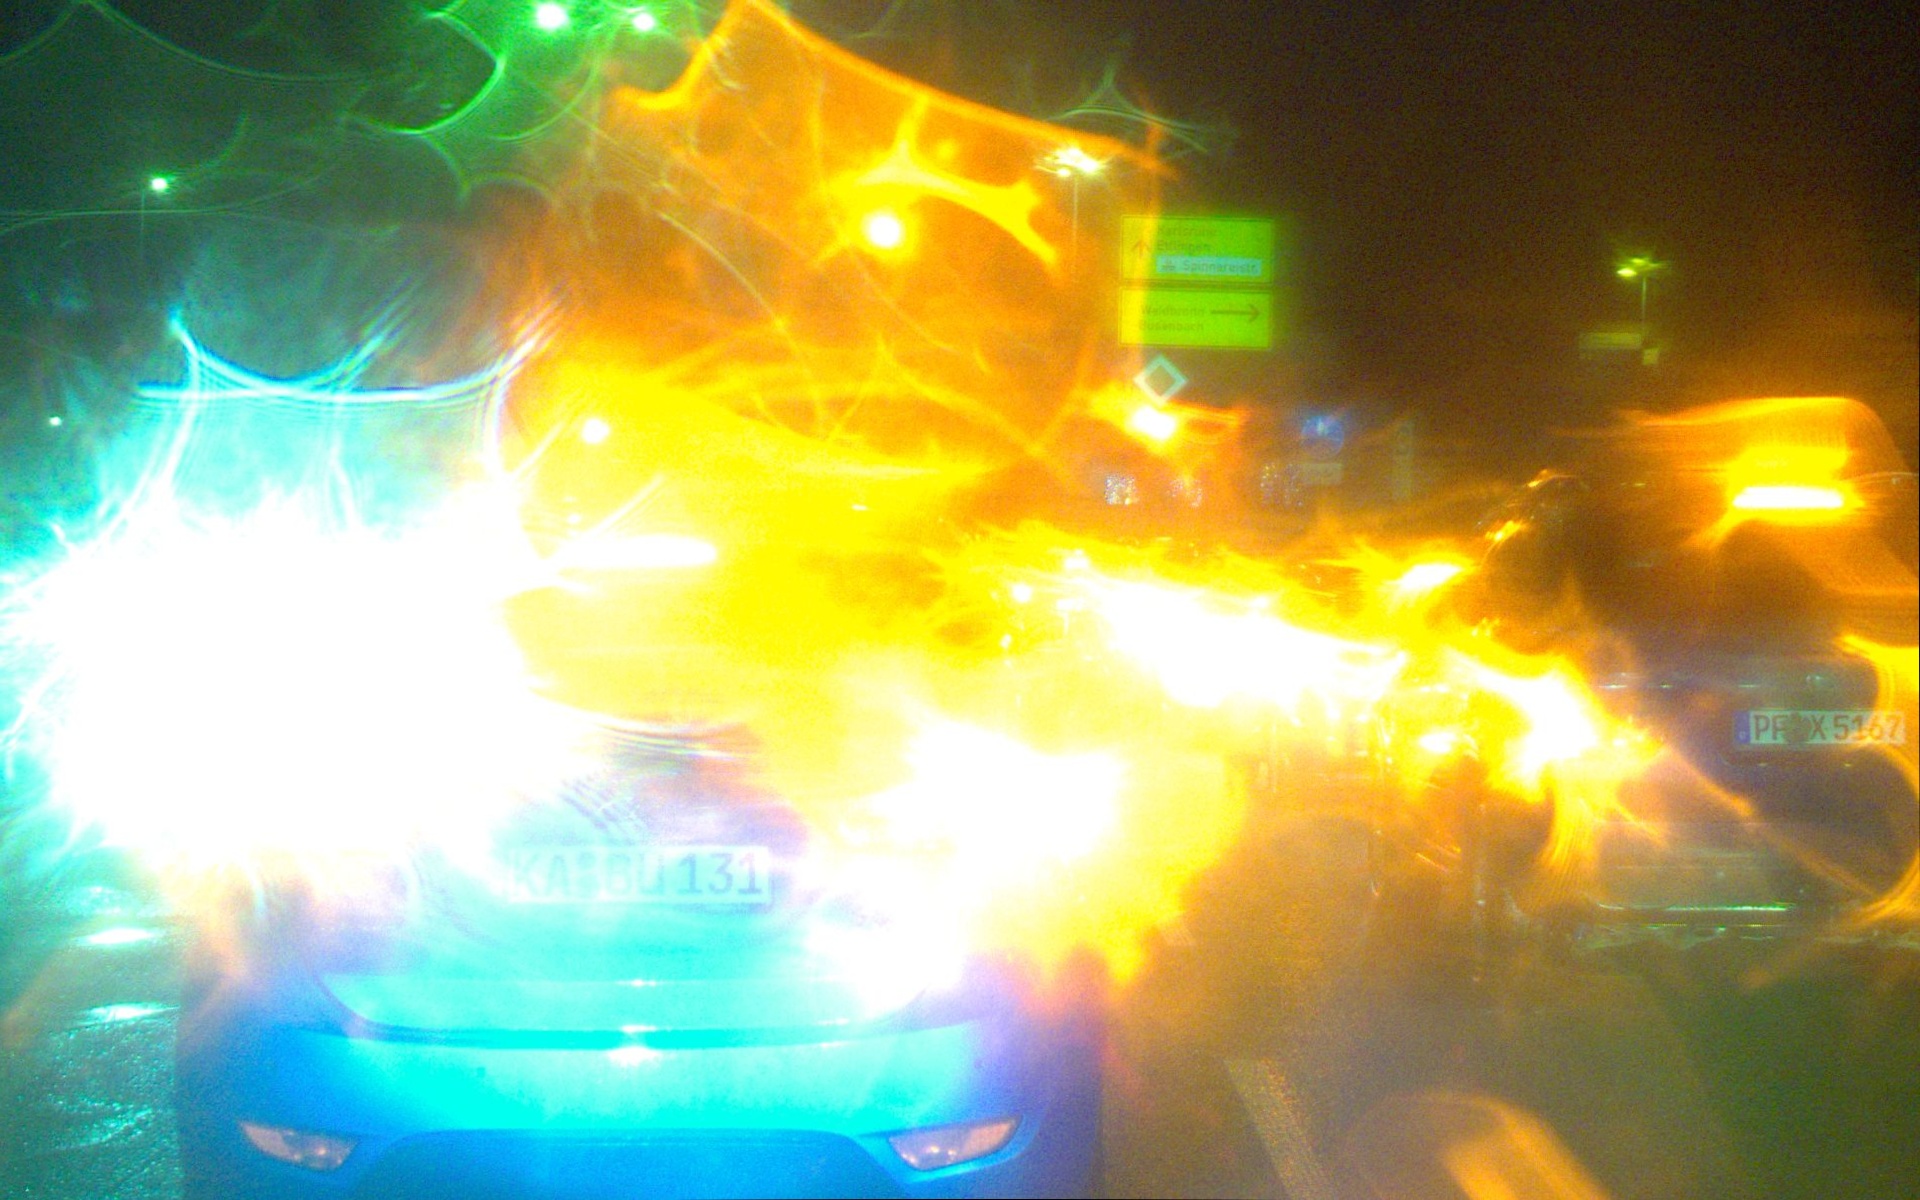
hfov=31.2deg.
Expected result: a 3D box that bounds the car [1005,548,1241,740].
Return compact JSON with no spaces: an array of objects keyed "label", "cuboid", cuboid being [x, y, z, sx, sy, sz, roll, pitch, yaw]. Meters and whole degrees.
[{"label":"car","cuboid":[1.546,0.392,34.019,1.993,1.767,4.000,1,1,-2]}]

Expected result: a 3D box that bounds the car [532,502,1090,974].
[{"label":"car","cuboid":[-0.563,0.480,14.430,1.993,1.678,4.000,1,1,-1]}]

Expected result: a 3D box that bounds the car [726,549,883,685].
[{"label":"car","cuboid":[-2.240,0.211,48.527,1.993,1.818,4.001,1,1,-5]}]

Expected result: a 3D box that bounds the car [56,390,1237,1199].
[{"label":"car","cuboid":[-0.647,0.485,8.156,2.014,1.711,4.452,1,1,-3]}]

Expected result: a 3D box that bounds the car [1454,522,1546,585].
[{"label":"car","cuboid":[14.847,-1.289,94.690,1.865,1.641,3.963,-2,1,0]}]

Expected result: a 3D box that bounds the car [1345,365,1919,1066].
[{"label":"car","cuboid":[2.598,0.324,12.076,1.968,2.040,4.000,1,1,-1]}]

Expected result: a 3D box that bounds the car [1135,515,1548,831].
[{"label":"car","cuboid":[2.198,0.381,20.890,1.993,1.712,4.000,1,1,-1]}]

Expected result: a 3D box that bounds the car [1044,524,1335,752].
[{"label":"car","cuboid":[1.753,0.260,27.514,1.993,1.664,4.000,1,1,-1]}]

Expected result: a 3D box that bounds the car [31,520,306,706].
[{"label":"car","cuboid":[-7.437,0.063,32.691,1.887,1.563,4.487,0,2,-4]}]

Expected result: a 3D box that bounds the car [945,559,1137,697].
[{"label":"car","cuboid":[0.910,0.299,40.973,1.857,1.539,3.931,1,1,-5]}]
